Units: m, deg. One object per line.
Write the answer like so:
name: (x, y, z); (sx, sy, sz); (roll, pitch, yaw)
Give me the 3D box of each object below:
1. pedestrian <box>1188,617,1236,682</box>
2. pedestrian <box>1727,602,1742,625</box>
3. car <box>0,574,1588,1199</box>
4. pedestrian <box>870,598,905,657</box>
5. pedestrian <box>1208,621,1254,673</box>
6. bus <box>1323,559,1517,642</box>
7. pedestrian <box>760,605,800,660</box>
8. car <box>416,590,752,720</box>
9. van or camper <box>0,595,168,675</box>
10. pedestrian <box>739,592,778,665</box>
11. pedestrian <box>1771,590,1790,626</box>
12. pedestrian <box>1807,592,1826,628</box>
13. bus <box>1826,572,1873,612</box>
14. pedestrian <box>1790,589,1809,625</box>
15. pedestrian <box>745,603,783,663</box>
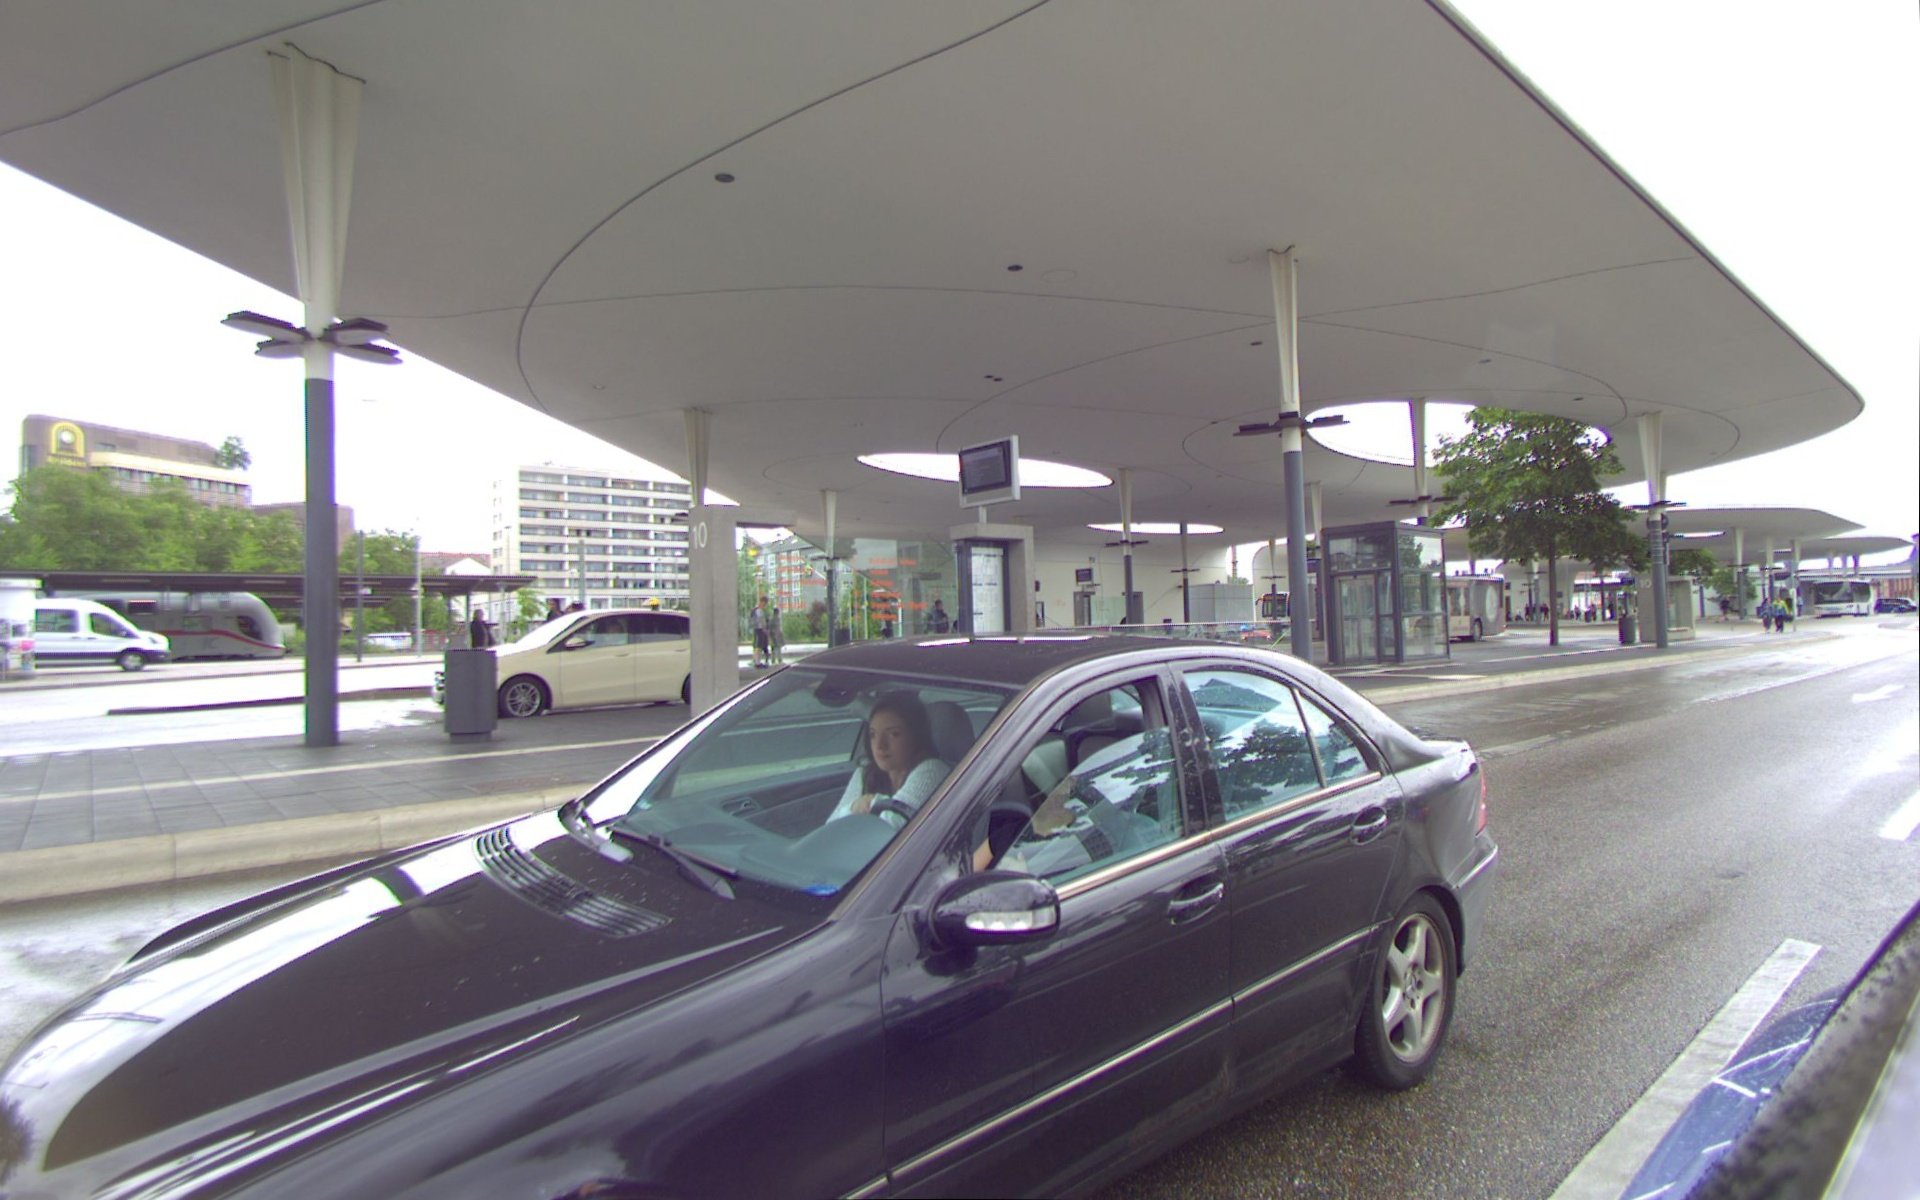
pedestrian: (5.080, 0.989, 20.411); (0.657, 1.268, 0.692); (0, -1, -41)
pedestrian: (56.273, 0.946, 73.494); (0.740, 1.651, 0.723); (0, -1, -41)
car: (0.029, 0.804, 3.049); (4.357, 1.499, 1.748); (-3, -4, -40)
pedestrian: (-1.934, 0.721, 27.064); (0.680, 1.564, 0.658); (0, -1, -40)
pedestrian: (5.276, 0.902, 19.698); (0.626, 0.974, 0.622); (0, -1, -41)
bus: (20.130, 0.003, 43.642); (12.142, 3.146, 2.999); (0, -1, -42)
pedestrian: (-5.035, 0.899, 28.309); (0.732, 1.497, 0.825); (-1, -1, 43)
car: (-5.510, 0.748, 15.131); (4.356, 1.671, 1.803); (0, -3, -41)
van or camper: (-29.775, 1.103, 33.224); (5.868, 2.495, 2.106); (0, -1, -41)
pedestrian: (-4.857, 0.672, 24.378); (0.680, 1.728, 0.658); (0, -1, -40)
pedestrian: (37.741, 0.384, 46.561); (0.577, 1.645, 0.576); (0, -1, -41)
pedestrian: (38.483, 0.445, 45.482); (0.543, 1.645, 0.556); (0, -1, -41)
bus: (75.377, -0.670, 85.704); (2.666, 3.169, 9.565); (-1, -1, 43)
pedestrian: (38.156, 0.324, 46.011); (0.543, 1.645, 0.556); (0, -1, -41)
pedestrian: (-5.574, 0.928, 28.804); (0.646, 1.654, 0.854); (-1, -1, 43)
